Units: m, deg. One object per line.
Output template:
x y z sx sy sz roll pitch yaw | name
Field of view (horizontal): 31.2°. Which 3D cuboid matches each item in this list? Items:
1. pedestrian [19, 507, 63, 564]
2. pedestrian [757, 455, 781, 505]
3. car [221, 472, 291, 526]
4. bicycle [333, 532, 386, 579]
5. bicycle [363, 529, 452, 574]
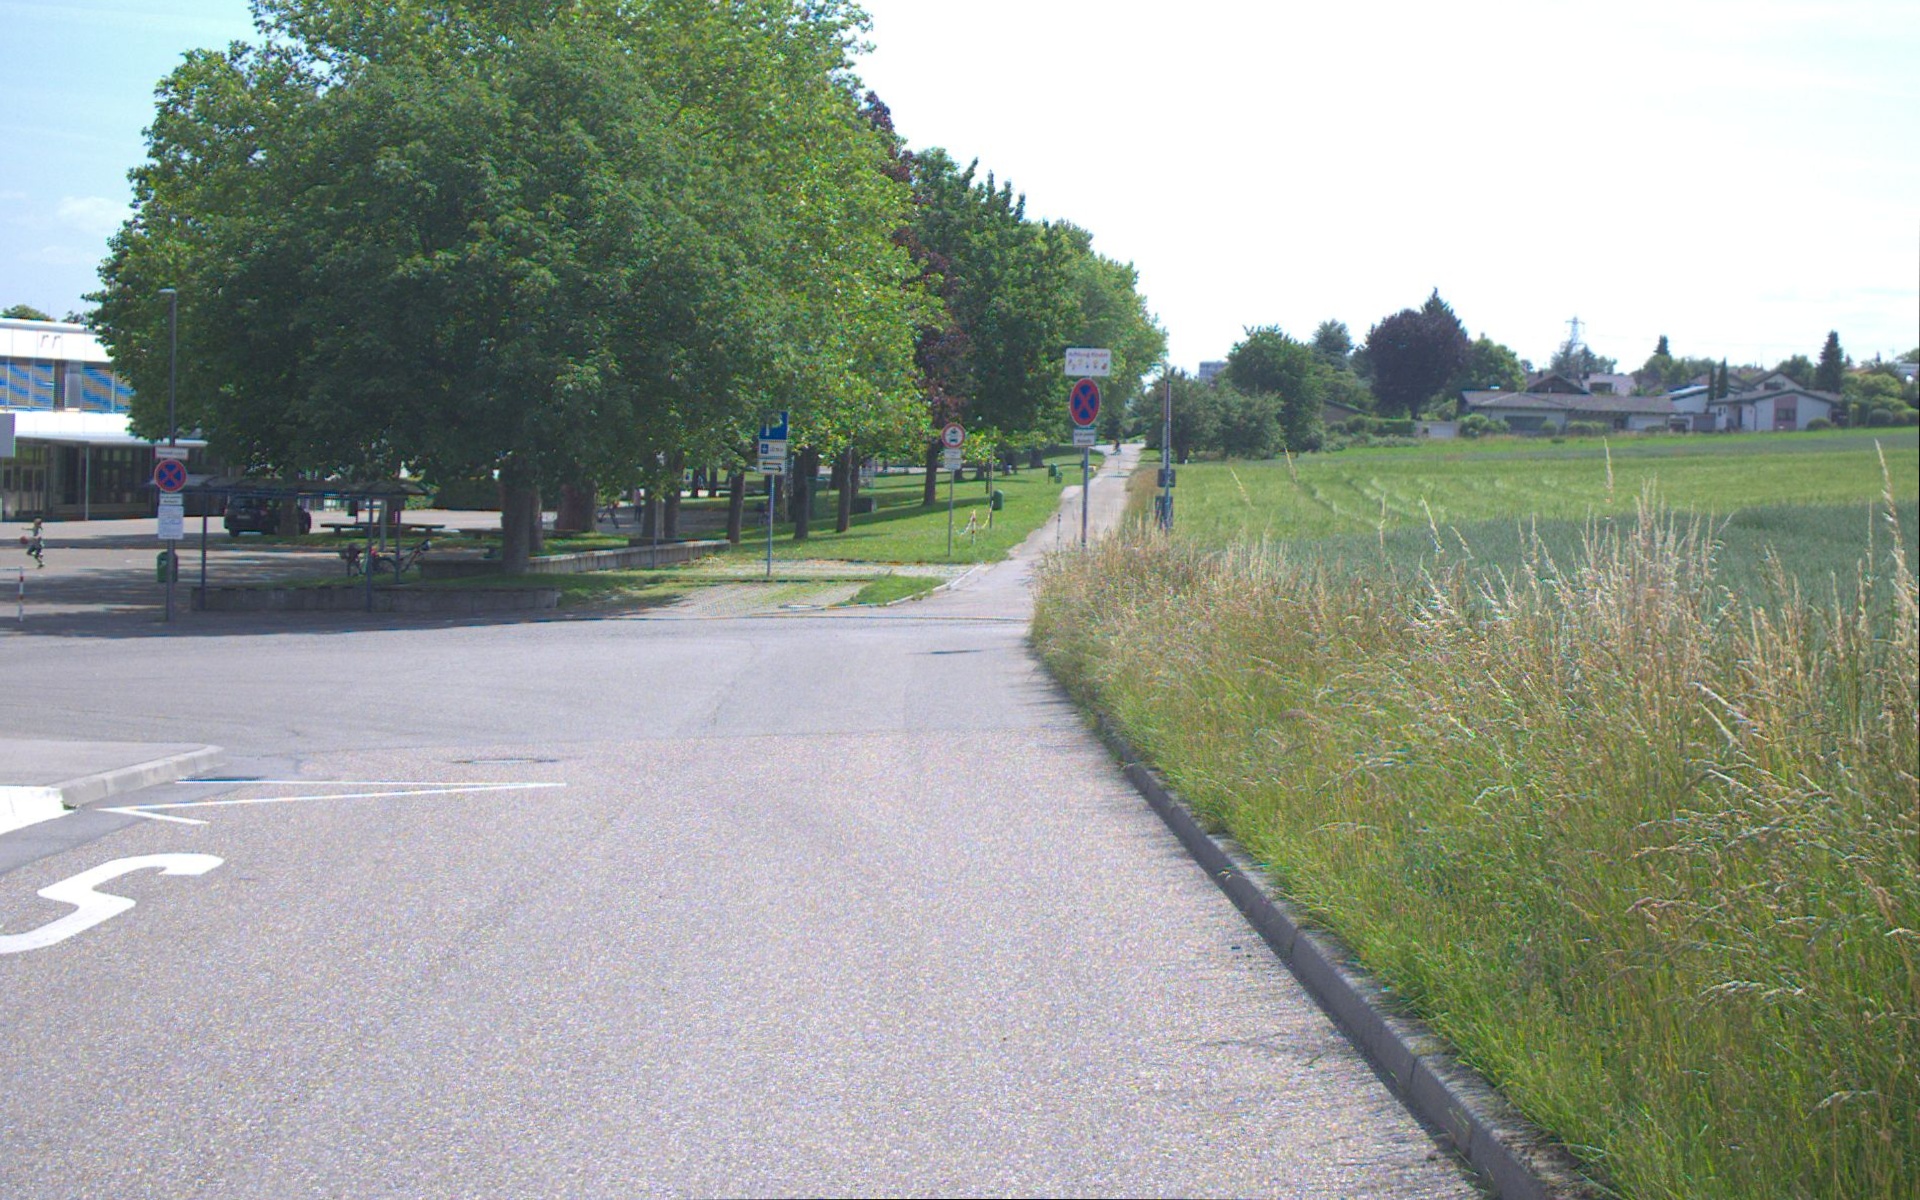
-23.388 -1.638 87.508 1.065 1.418 0.920 0 2 -14 | pedestrian
-7.759 -4.894 139.838 0.682 2.006 0.803 0 2 -30 | pedestrian
-24.502 -3.527 119.711 1.691 1.828 3.411 0 2 0 | car
-14.024 -1.047 80.373 0.595 1.035 1.892 0 2 10 | bicycle
-13.249 -1.167 82.422 2.062 1.035 0.572 -1 2 -5 | bicycle
